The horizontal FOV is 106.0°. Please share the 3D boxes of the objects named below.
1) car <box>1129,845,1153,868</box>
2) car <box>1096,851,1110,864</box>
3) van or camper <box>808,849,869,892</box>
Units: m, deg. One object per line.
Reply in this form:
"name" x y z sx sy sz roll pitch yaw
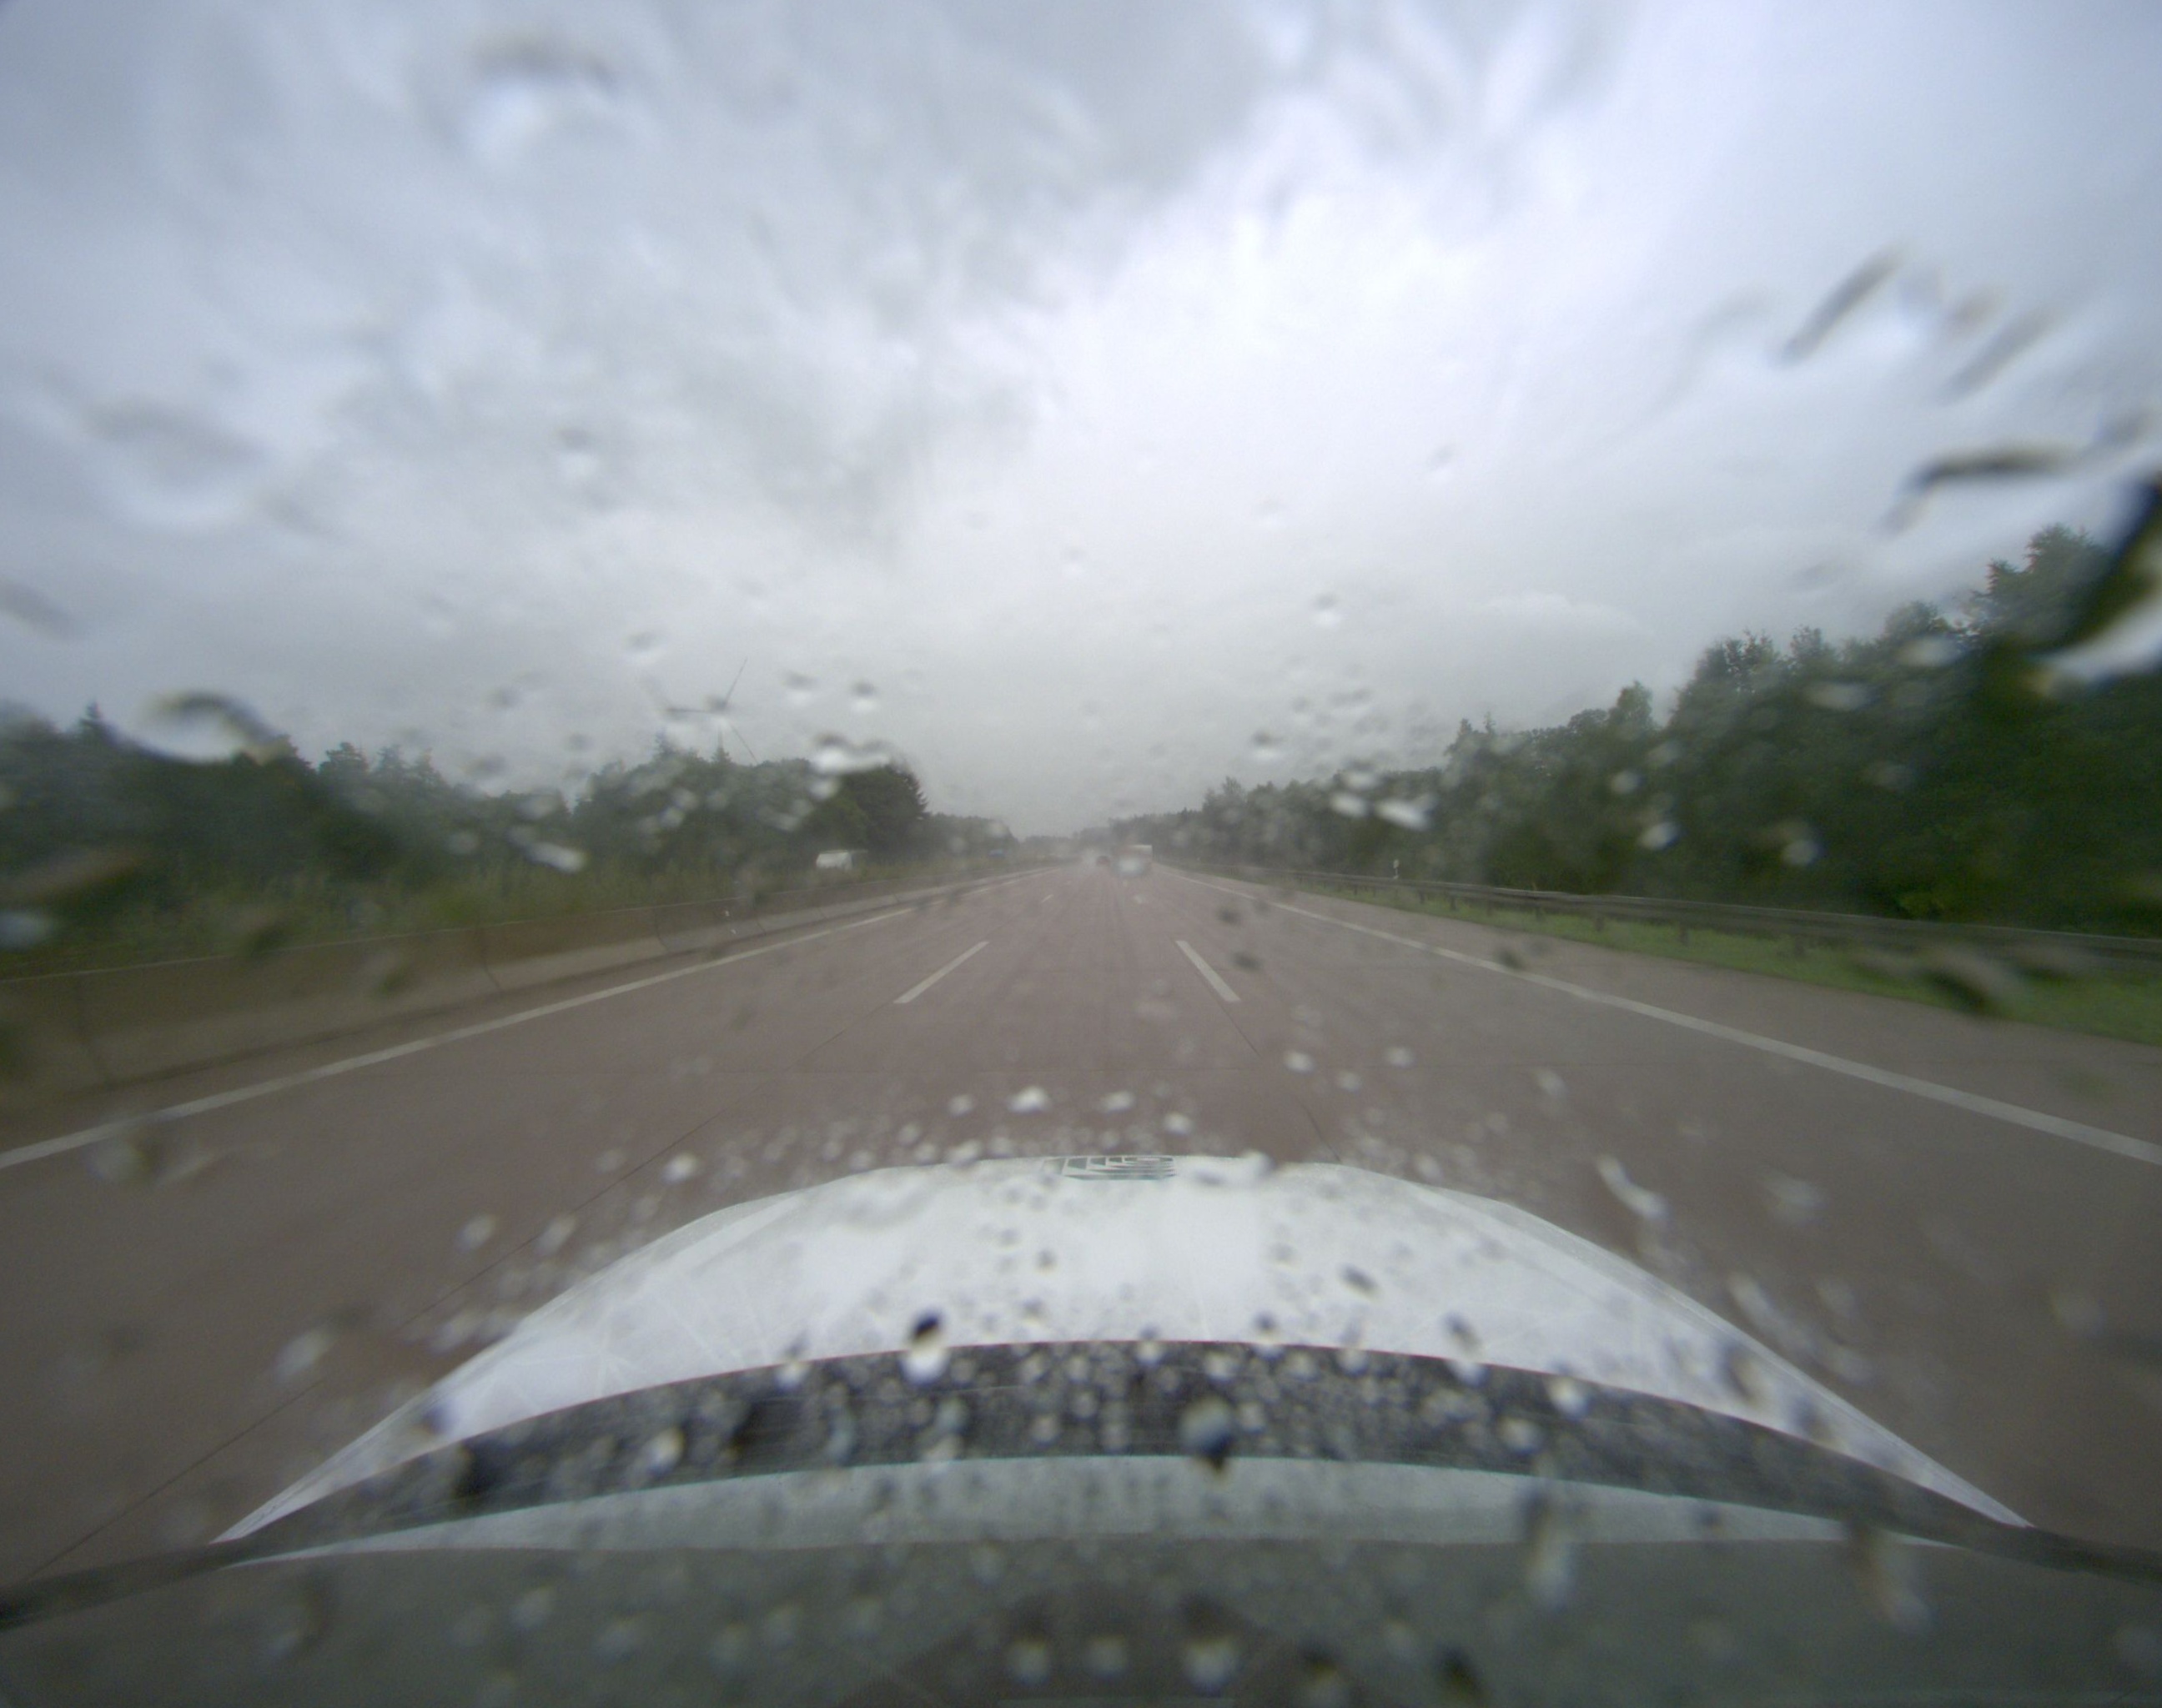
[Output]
"car" 5.493 0.204 75.161 2.049 2.000 4.102 -1 0 3
"car" 3.109 0.530 114.536 1.929 1.729 4.133 0 0 3
"van or camper" -17.953 1.185 60.647 2.470 3.000 5.441 0 0 5
